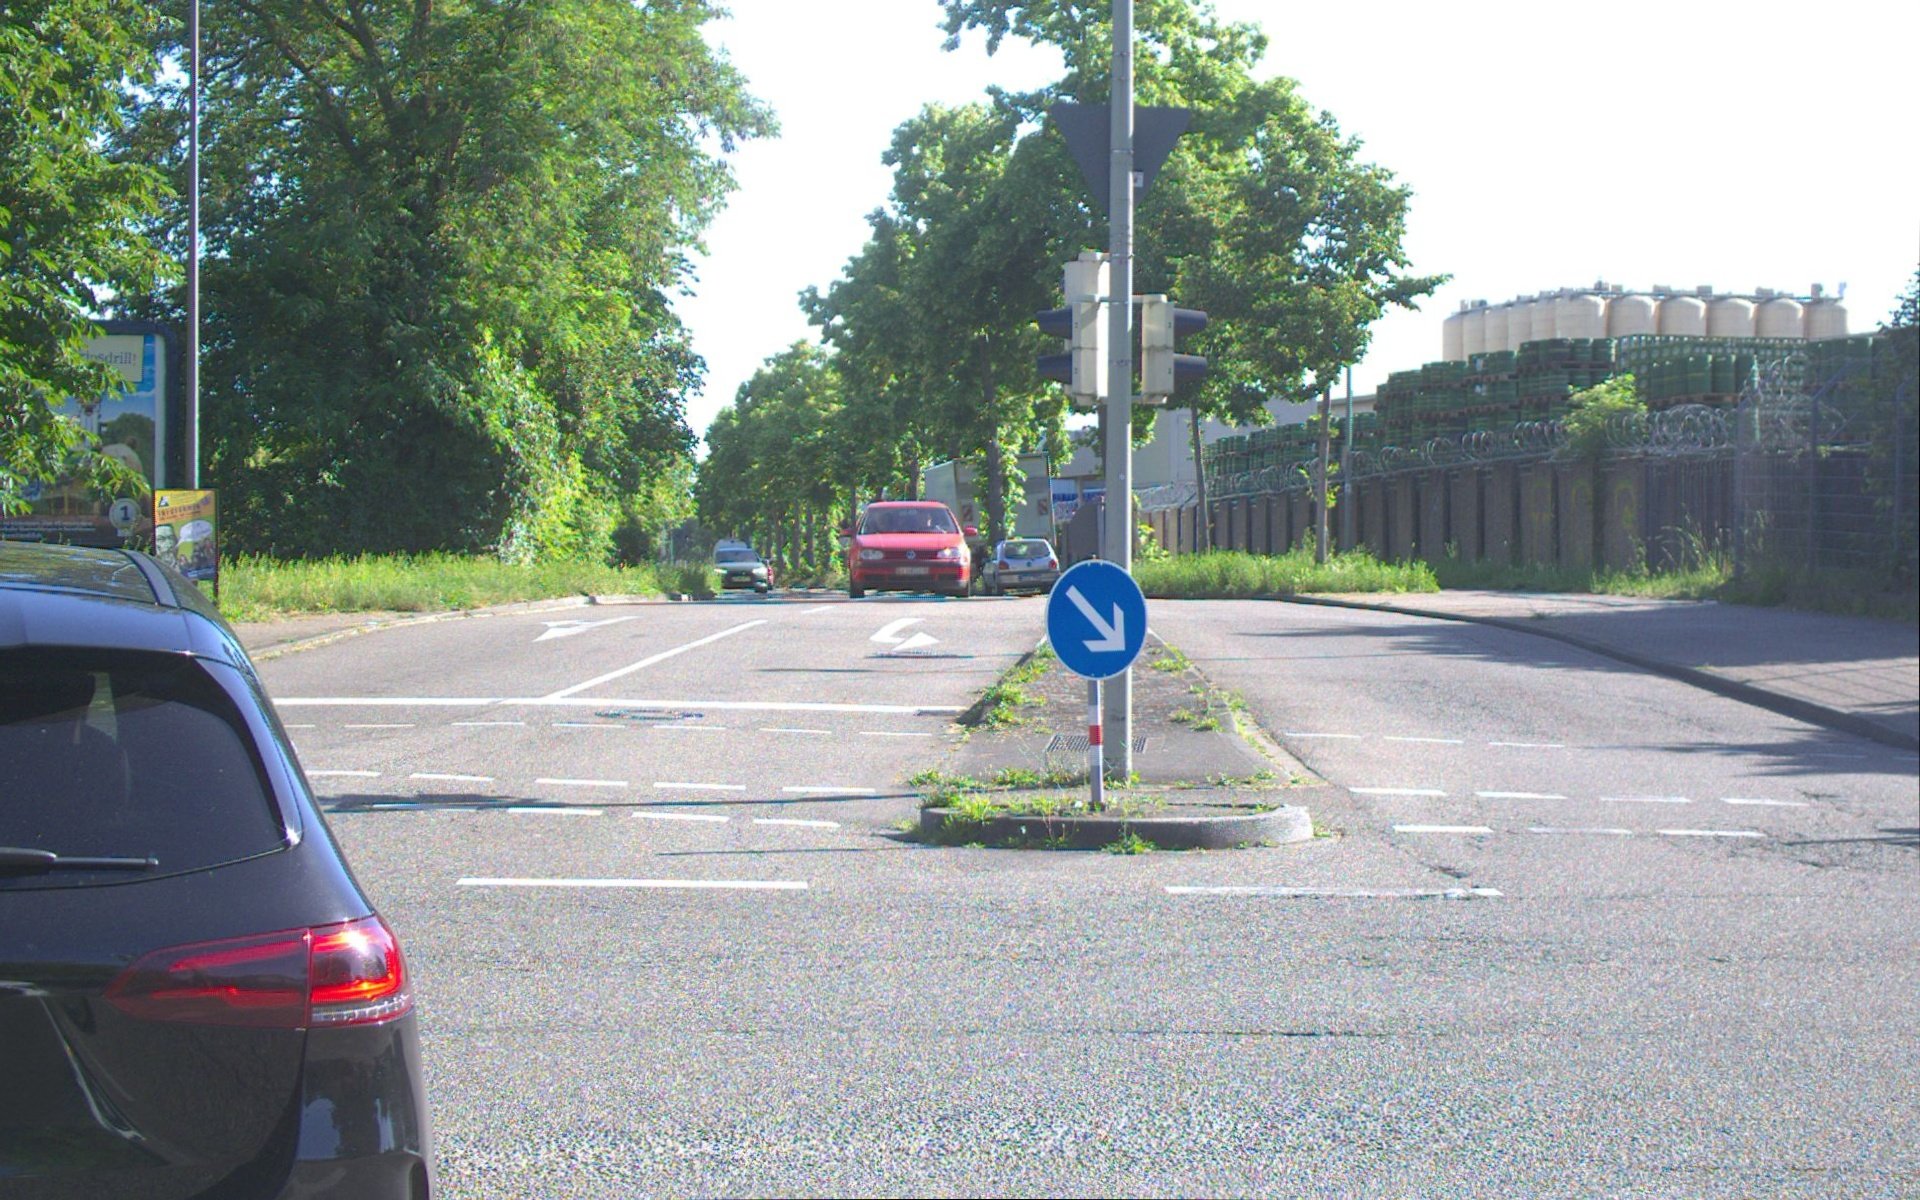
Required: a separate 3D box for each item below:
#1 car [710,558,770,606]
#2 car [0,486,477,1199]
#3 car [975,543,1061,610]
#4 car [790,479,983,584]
[{"bbox_3d":[-7.017,-0.590,109.567,1.857,1.464,4.139,0,1,-4],"label":"car"},{"bbox_3d":[-2.172,0.613,6.449,1.769,1.587,3.990,0,1,-19],"label":"car"},{"bbox_3d":[1.404,-0.589,84.139,1.688,1.626,3.131,0,1,-7],"label":"car"},{"bbox_3d":[-1.118,-0.993,50.142,1.857,1.464,4.140,0,1,-15],"label":"car"}]
